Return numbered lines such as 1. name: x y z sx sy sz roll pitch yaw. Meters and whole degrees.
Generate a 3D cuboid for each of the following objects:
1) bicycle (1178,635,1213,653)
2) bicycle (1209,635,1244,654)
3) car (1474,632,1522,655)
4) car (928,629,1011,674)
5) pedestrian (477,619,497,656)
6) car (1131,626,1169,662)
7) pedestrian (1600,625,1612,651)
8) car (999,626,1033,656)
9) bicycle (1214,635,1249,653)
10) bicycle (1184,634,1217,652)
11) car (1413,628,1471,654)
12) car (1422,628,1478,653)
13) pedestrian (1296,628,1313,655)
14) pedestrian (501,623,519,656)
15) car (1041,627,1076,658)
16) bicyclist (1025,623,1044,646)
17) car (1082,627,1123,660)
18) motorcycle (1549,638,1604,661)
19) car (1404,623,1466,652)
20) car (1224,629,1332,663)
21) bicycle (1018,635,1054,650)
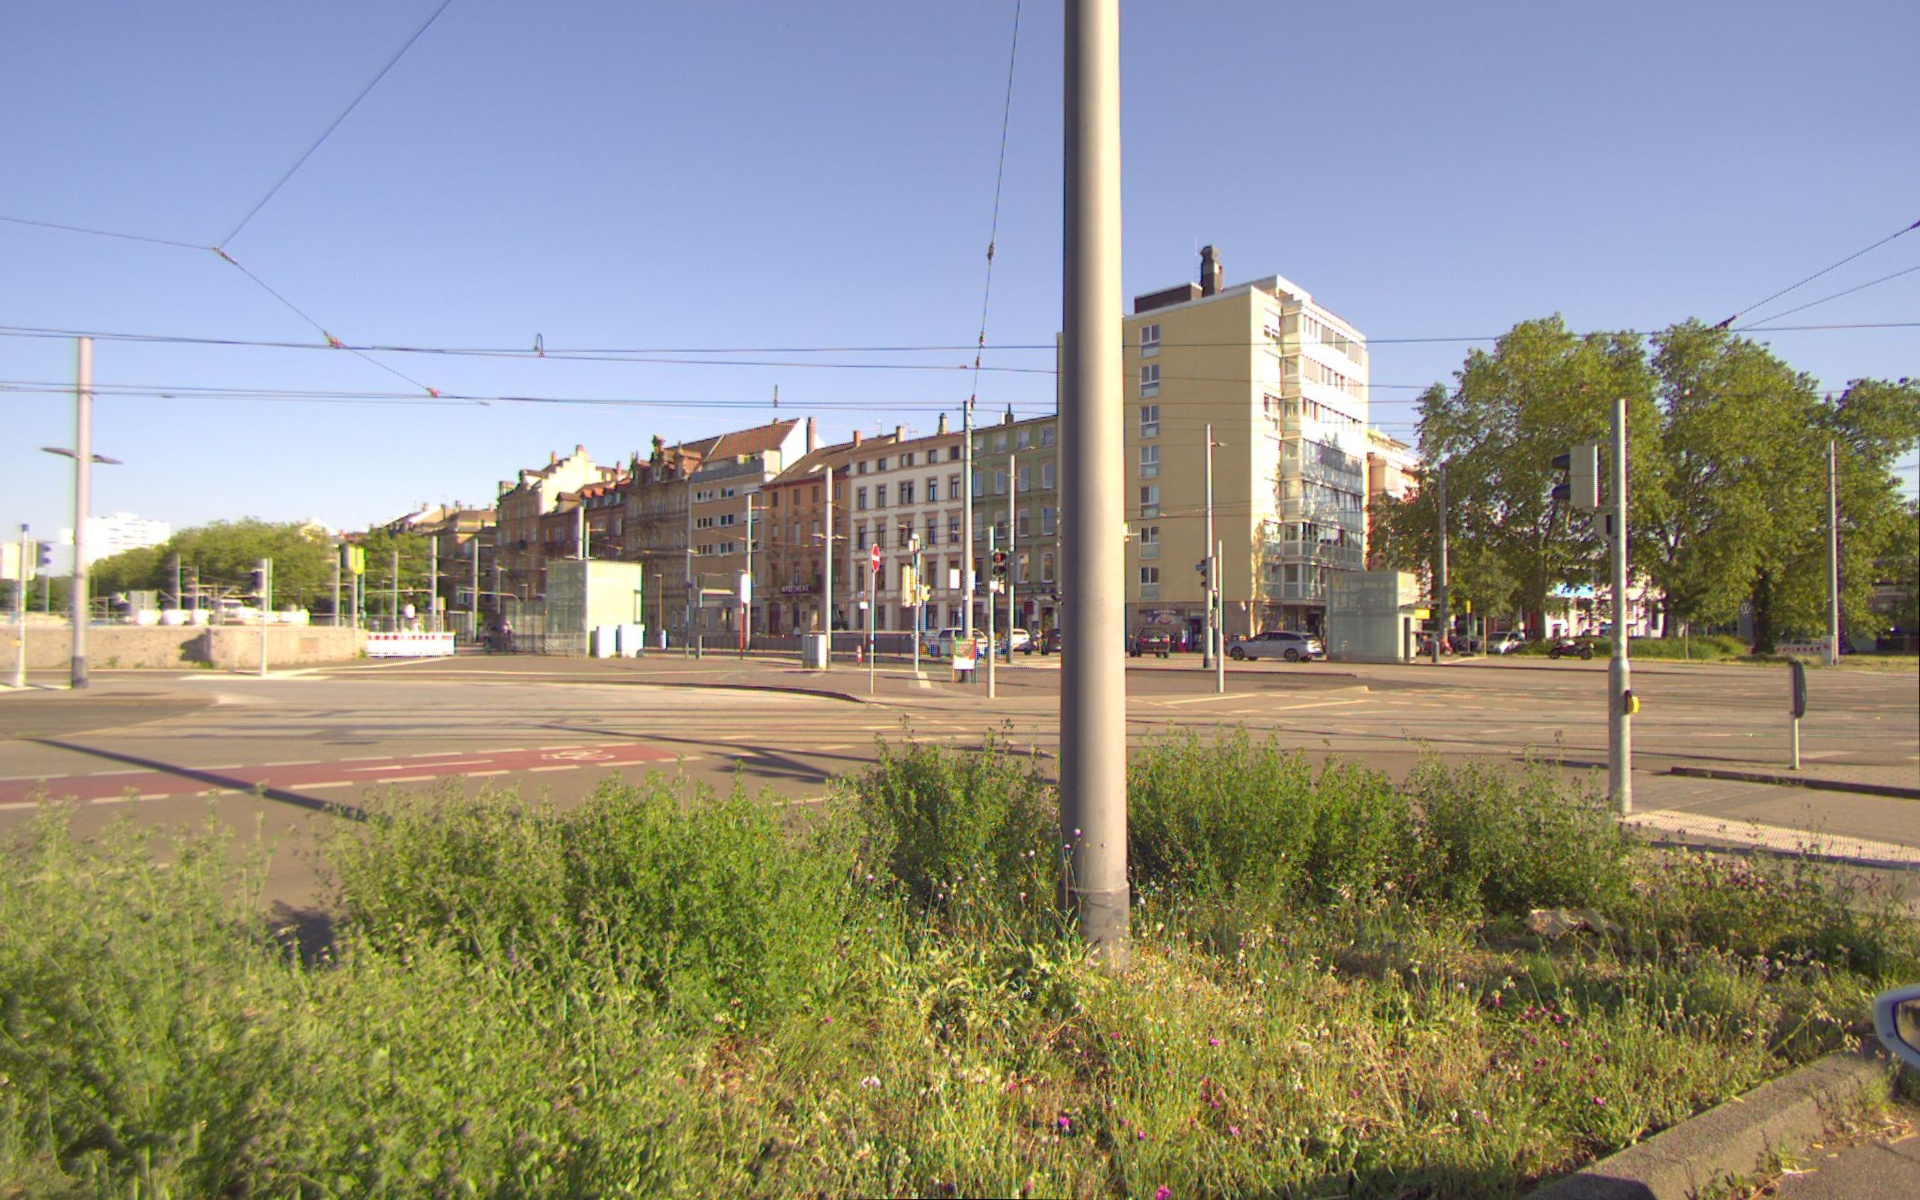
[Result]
1. bicycle: 15.153 2.807 64.656 2.019 1.104 0.773 -1 -2 42
2. bicycle: 16.770 2.794 63.226 2.019 1.104 0.773 -1 -2 42
3. car: 35.524 2.846 66.266 1.827 1.471 3.976 0 -2 44
4. car: 0.439 2.496 49.545 3.691 2.040 1.990 0 0 41
5. pedestrian: -23.344 1.860 49.566 0.721 1.801 0.788 1 -2 -34
6. car: 10.901 2.514 57.887 1.815 1.882 4.002 0 0 6
7. pedestrian: 52.300 3.075 81.296 0.702 2.040 0.586 1 -1 -30
8. car: 3.563 2.600 64.400 2.045 1.742 4.010 -1 0 1
9. bicycle: 17.282 2.788 63.901 2.019 1.104 0.773 -1 -2 42
10. bicycle: 15.654 2.802 65.372 2.019 1.104 0.773 -1 -2 42
11. car: 36.493 3.086 76.158 3.925 1.882 1.851 0 0 26
12. car: 38.992 3.232 79.988 3.925 1.882 1.851 0 0 26
13. pedestrian: 21.659 2.603 63.167 0.767 1.698 0.778 -1 -2 43
14. pedestrian: -23.222 2.014 51.796 0.721 1.671 0.788 1 -2 -34
15. car: 6.041 2.579 61.888 1.803 1.742 4.000 -1 0 1
16. bicyclist: 5.118 2.339 68.717 0.914 1.580 0.957 -1 -2 45
17. car: 8.416 2.544 59.737 1.803 1.771 3.999 -1 0 -1
18. motorcycle: 30.809 2.465 50.235 0.682 1.068 2.263 -1 0 -42
19. car: 34.004 2.669 71.964 3.925 2.040 1.998 0 -2 26
20. car: 15.041 2.154 47.600 4.489 1.537 1.945 -1 -2 39
21. bicycle: 5.206 2.896 68.611 0.957 1.016 2.414 2 -2 -45
